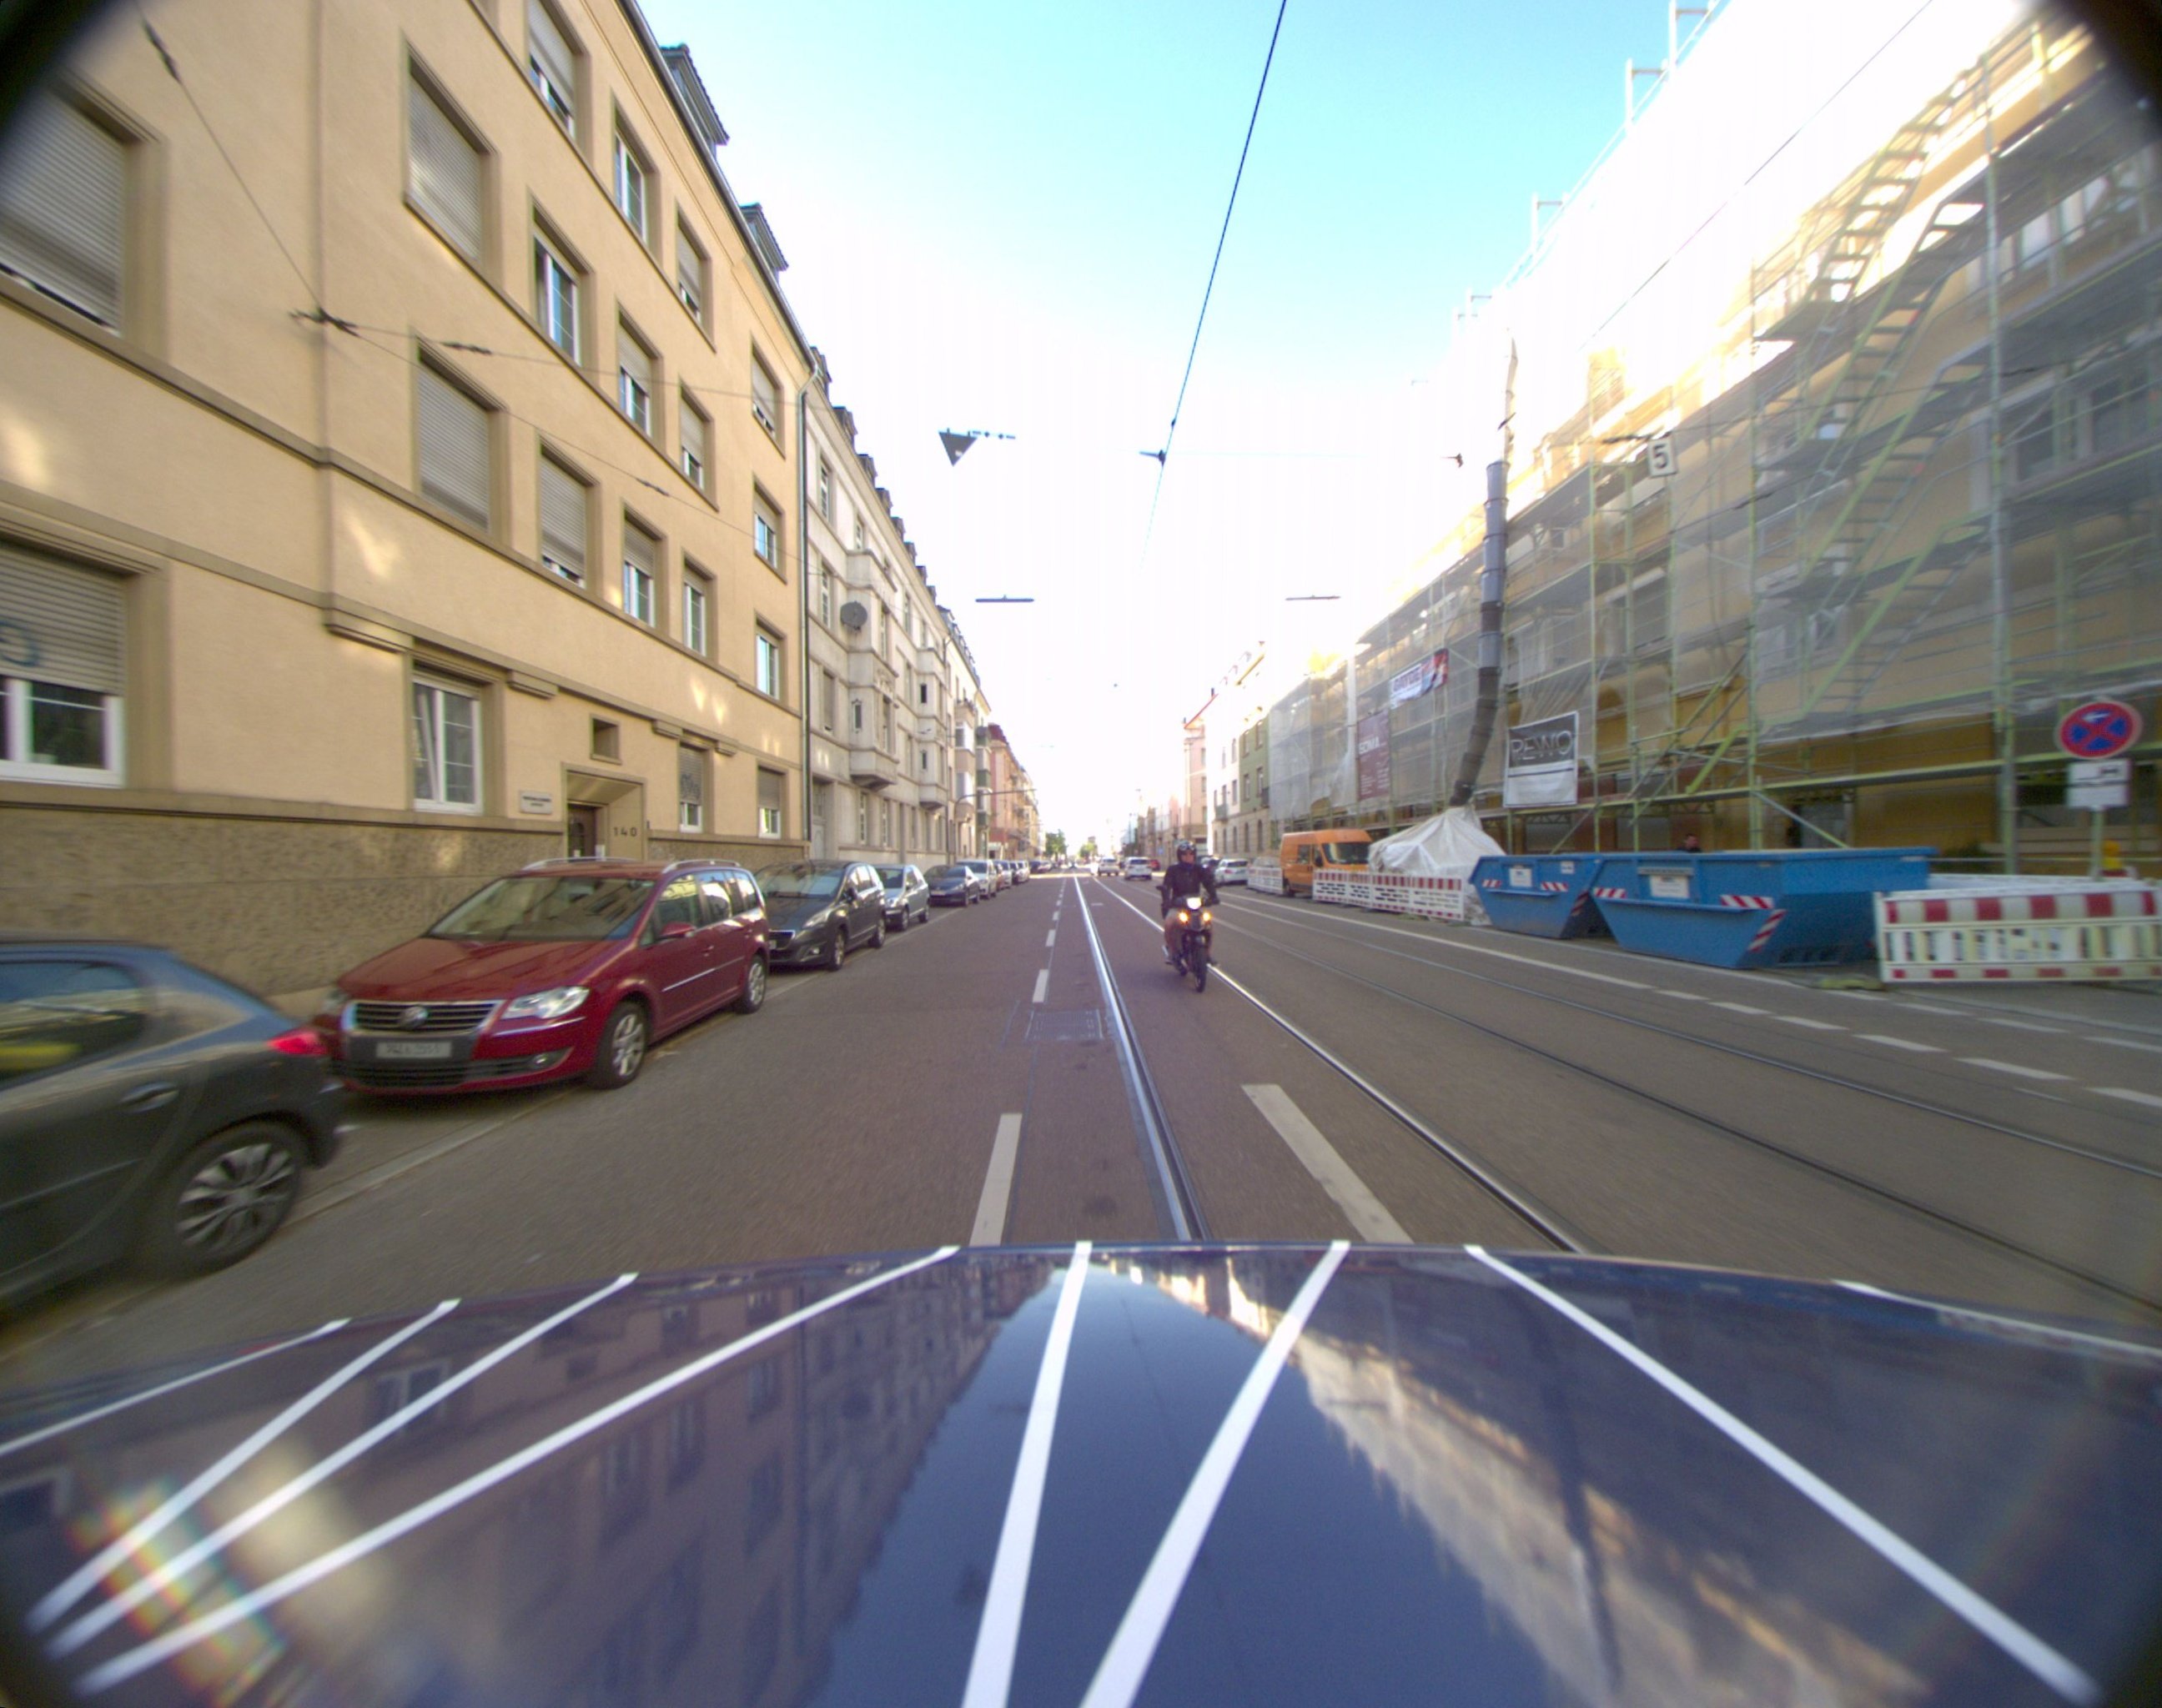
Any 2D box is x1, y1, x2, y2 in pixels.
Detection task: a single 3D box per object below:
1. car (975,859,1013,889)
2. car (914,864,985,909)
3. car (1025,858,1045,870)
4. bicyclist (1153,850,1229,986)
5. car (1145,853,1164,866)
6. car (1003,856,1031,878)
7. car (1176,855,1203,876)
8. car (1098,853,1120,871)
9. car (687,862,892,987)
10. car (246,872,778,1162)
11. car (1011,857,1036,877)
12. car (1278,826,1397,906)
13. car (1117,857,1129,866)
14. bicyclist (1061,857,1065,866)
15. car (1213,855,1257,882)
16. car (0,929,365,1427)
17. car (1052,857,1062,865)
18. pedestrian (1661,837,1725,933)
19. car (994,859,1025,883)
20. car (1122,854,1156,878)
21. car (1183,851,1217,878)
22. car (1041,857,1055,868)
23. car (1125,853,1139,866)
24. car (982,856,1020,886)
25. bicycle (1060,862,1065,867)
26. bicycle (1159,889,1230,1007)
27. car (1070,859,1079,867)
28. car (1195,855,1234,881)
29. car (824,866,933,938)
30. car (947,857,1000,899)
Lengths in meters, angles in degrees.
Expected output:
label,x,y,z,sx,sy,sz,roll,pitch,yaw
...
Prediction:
label,x,y,z,sx,sy,sz,roll,pitch,yaw
car,-4.670,1.036,40.976,1.570,1.475,3.365,1,0,1
car,-4.583,1.087,26.999,1.703,1.443,4.206,0,0,1
car,-5.249,1.121,86.730,1.999,1.412,3.727,0,0,0
bicyclist,1.311,0.731,9.108,0.843,1.545,0.850,-1,0,8
car,8.875,0.645,91.831,1.798,1.494,3.769,-3,0,-2
car,-4.681,0.943,56.110,1.703,1.581,3.960,-1,0,-1
car,8.756,0.895,61.453,1.798,1.601,3.770,-1,0,2
car,2.563,0.723,69.951,1.772,1.598,4.293,0,0,-1
car,-4.470,0.971,12.426,1.794,1.642,4.365,0,0,-2
car,-4.182,1.008,6.597,1.596,1.599,4.245,0,0,-3
car,-4.692,1.054,62.510,1.703,1.581,3.355,1,0,2
car,8.752,0.377,26.628,2.125,2.454,6.000,0,0,0
car,7.744,1.357,141.051,1.798,1.494,3.769,-3,0,-2
bicyclist,-2.890,1.223,121.763,0.744,1.481,0.816,-1,0,-2
car,8.951,0.819,44.489,1.751,1.502,4.000,0,0,0
car,-4.196,1.082,1.697,1.587,1.455,3.880,0,0,-2
car,-5.492,1.606,174.350,1.999,1.674,4.000,0,0,0
pedestrian,11.121,0.548,13.827,0.582,1.684,0.717,-1,0,0
car,-4.768,1.114,50.991,1.703,1.496,3.863,-1,0,0
car,4.166,0.813,55.178,1.826,1.559,4.200,-4,0,-2
car,8.783,0.764,56.451,1.798,1.835,3.769,-3,0,-2
car,-5.073,1.317,116.726,1.999,1.630,4.000,0,0,0
car,8.237,0.915,122.540,1.999,2.002,4.000,0,0,-1
car,-4.705,0.973,45.323,1.703,1.688,4.188,0,0,2
bicycle,-2.900,1.707,121.651,0.744,0.850,1.885,-1,0,-2
bicycle,1.332,1.048,9.122,0.740,1.170,1.975,-1,0,7
car,-1.432,1.974,166.027,1.999,1.586,4.000,0,0,-1
car,8.828,0.909,50.490,1.702,1.569,4.222,-3,0,-2
car,-4.626,1.044,17.840,1.612,1.454,3.479,0,0,0
car,-4.569,0.983,32.981,1.713,1.683,4.589,0,0,-1
